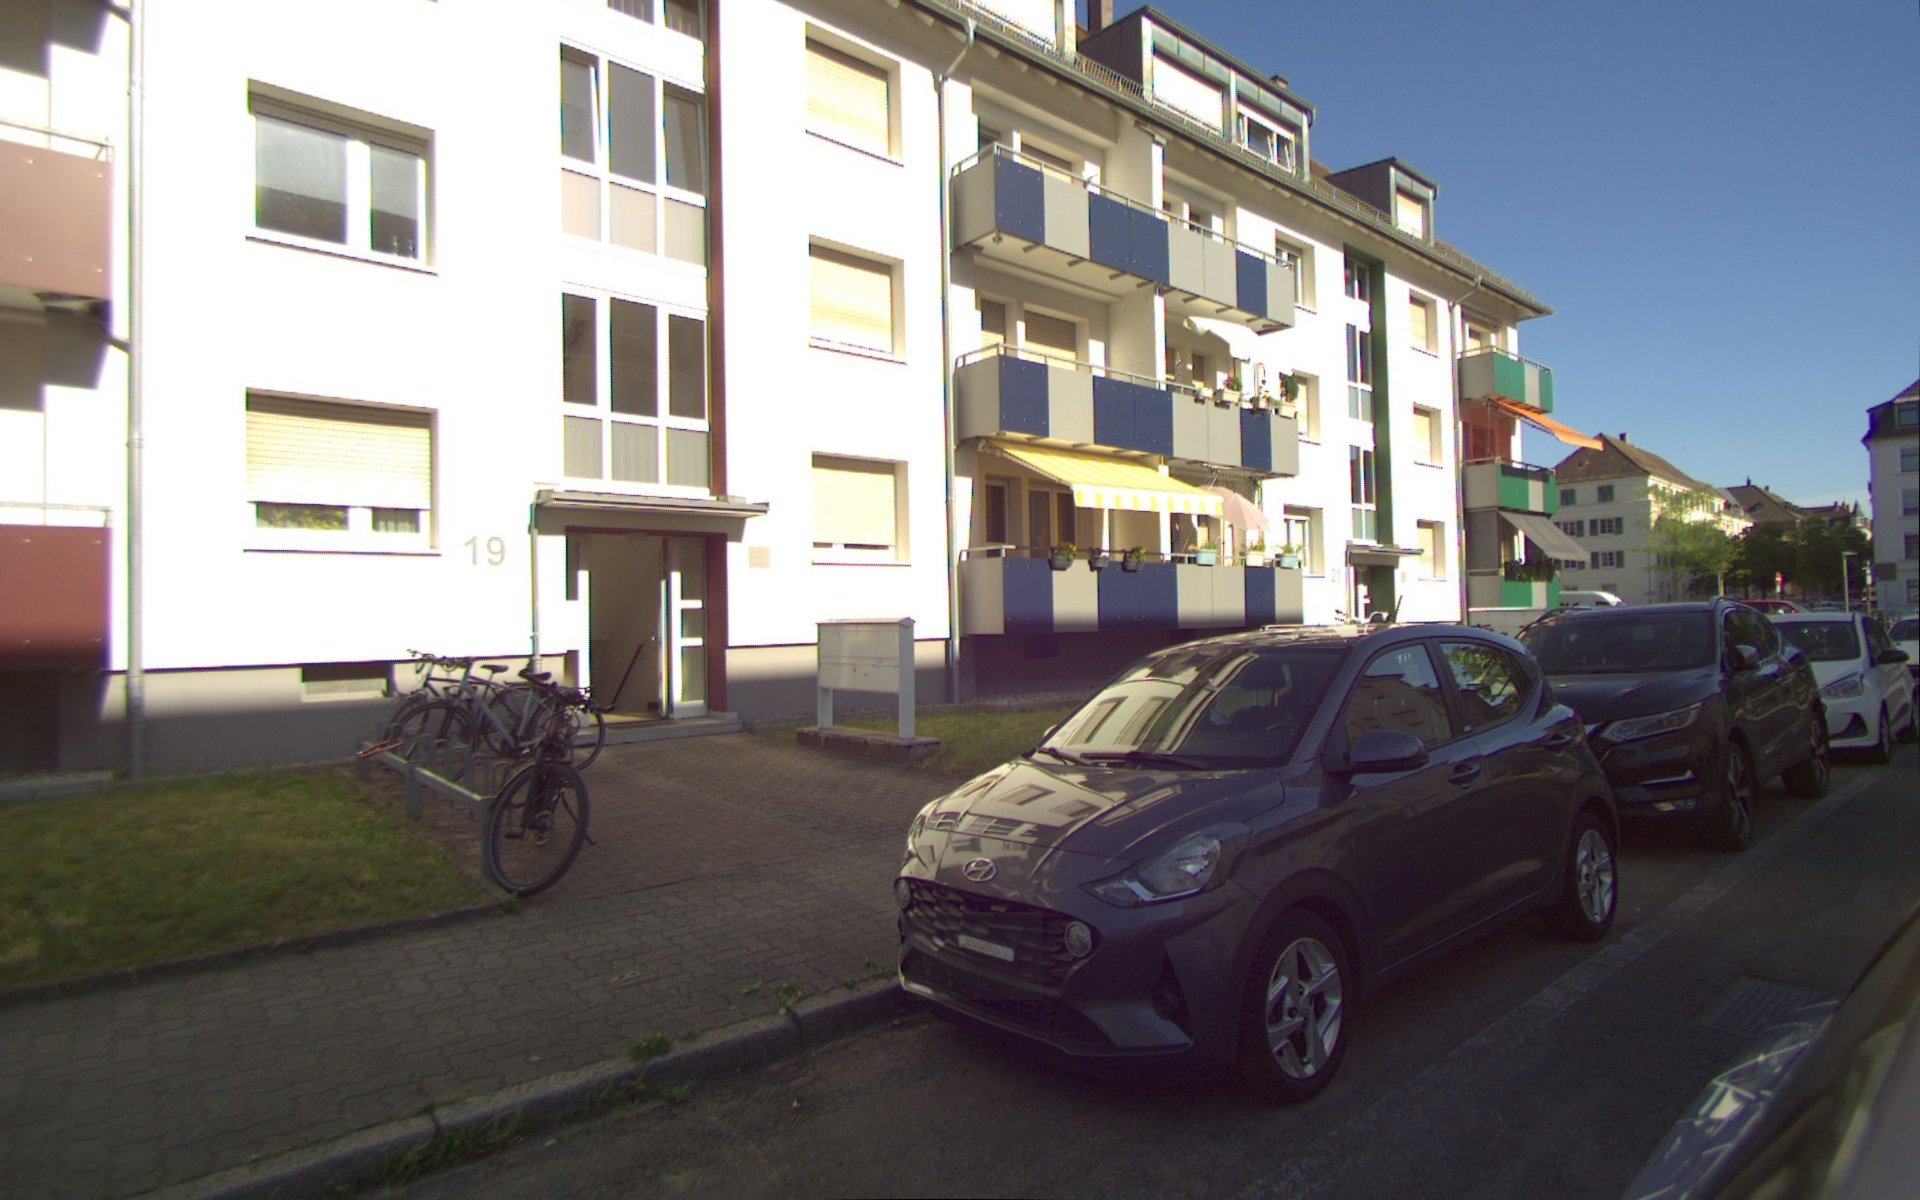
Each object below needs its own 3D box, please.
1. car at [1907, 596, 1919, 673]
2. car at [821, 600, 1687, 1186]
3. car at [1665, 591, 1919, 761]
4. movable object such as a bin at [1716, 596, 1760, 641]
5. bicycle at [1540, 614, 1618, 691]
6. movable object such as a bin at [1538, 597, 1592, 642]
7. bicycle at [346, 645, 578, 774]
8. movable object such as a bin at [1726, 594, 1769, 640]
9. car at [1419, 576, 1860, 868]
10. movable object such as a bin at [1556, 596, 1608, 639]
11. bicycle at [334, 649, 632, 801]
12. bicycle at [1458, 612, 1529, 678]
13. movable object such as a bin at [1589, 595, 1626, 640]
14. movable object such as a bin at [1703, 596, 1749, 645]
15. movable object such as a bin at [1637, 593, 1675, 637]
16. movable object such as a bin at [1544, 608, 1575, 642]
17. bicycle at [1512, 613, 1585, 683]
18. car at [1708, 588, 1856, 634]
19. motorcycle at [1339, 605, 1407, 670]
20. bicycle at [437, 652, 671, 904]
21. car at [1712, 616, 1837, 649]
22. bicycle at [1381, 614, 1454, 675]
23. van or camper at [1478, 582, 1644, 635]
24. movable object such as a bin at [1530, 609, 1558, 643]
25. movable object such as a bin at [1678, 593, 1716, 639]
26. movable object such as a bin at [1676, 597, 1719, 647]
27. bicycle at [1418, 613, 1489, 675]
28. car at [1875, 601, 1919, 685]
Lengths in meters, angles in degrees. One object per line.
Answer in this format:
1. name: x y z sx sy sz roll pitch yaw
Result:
1. car: 22.244 0.671 22.095 4.502 1.613 1.803 0 -3 -42
2. car: 1.547 0.803 4.528 3.986 1.468 1.650 -1 -3 -38
3. car: 9.274 0.733 10.988 3.787 1.529 1.715 0 -4 -41
4. movable object such as a bin: 24.109 0.566 31.370 0.852 1.342 0.920 0 -1 -42
5. bicycle: 10.376 0.848 16.954 1.839 1.185 0.545 0 0 -40
6. movable object such as a bin: 20.366 0.638 34.078 1.257 1.466 1.237 0 -1 -43
7. bicycle: -4.730 0.998 9.717 1.940 1.050 0.521 0 0 -40
8. movable object such as a bin: 25.022 0.531 32.157 0.852 1.416 0.920 0 -1 -42
9. car: 5.289 0.663 7.633 4.277 1.598 1.726 0 -1 -42
10. movable object such as a bin: 21.461 0.593 34.926 1.257 1.466 1.237 0 -1 -43
11. bicycle: -3.986 0.994 8.620 2.247 1.062 0.521 0 -1 -40
12. bicycle: 9.891 0.810 18.737 1.840 1.135 0.544 0 0 -42
13. movable object such as a bin: 22.599 0.604 35.334 0.906 1.539 0.865 0 -1 -42
14. movable object such as a bin: 23.161 0.617 30.599 0.852 1.466 0.920 0 -1 -42
15. movable object such as a bin: 23.459 0.496 34.111 0.907 1.466 0.864 0 -1 -44
16. movable object such as a bin: 19.656 0.825 33.171 0.570 1.066 0.717 0 1 -42
17. bicycle: 10.476 0.830 17.981 1.840 1.147 0.578 0 0 -42
18. car: 38.149 0.541 47.121 1.963 2.039 4.992 0 -1 -37
19. motorcycle: 8.484 0.746 20.753 1.942 1.254 0.442 0 -1 -41
20. bicycle: -2.611 0.947 6.288 0.862 1.144 2.432 0 -1 -34
21. car: 35.914 1.403 44.708 1.769 1.367 3.996 0 0 -38
22. bicycle: 8.991 0.847 19.868 1.840 1.130 0.597 0 -1 -42
23. van or camper: 30.618 0.419 51.844 2.137 2.532 6.979 0 -1 -38
24. movable object such as a bin: 18.985 0.833 32.882 0.570 1.066 0.627 0 1 -43
25. movable object such as a bin: 24.281 0.522 33.354 0.907 1.466 0.864 0 -1 -44
26. movable object such as a bin: 21.863 0.643 29.993 0.907 1.466 0.864 0 -1 -44
27. bicycle: 9.412 0.815 19.271 1.840 1.096 0.539 0 1 -42
28. car: 18.340 0.708 18.628 4.027 1.437 1.692 0 -4 -42
